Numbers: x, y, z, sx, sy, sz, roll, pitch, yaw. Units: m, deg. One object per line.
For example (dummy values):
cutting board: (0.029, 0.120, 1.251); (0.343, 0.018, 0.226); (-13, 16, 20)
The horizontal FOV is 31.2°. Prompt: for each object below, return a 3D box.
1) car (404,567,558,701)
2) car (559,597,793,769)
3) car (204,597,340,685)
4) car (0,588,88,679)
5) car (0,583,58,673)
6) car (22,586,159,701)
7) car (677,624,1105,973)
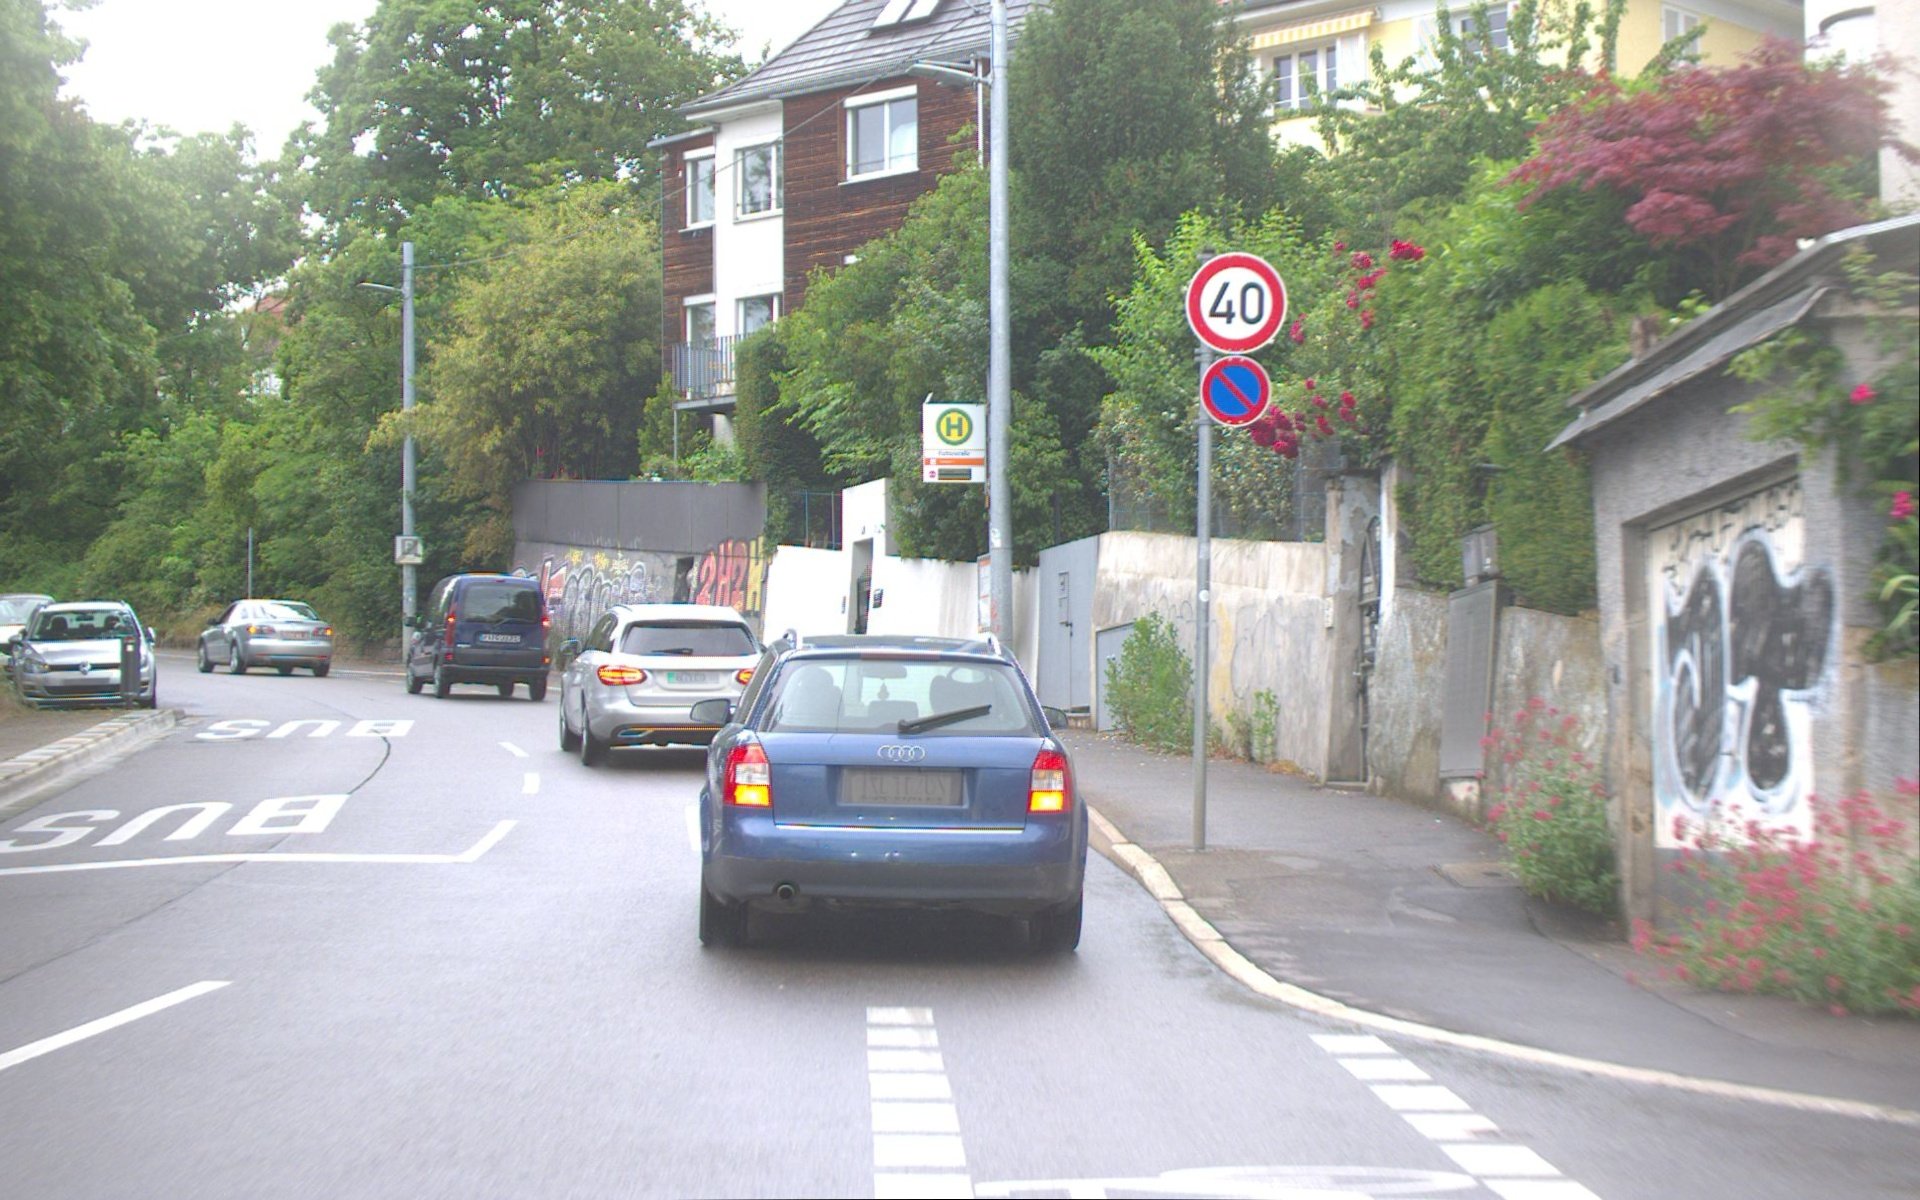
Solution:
car: (-7.206, 0.476, 51.458); (1.730, 1.888, 4.056); (-1, 1, -16)
car: (-2.735, 0.730, 32.286); (1.908, 1.384, 4.351); (3, 0, -8)
car: (-12.989, 0.743, 64.745); (1.766, 1.565, 4.031); (-1, 1, -22)
car: (-15.505, 0.526, 56.972); (1.673, 1.422, 4.001); (-1, 1, -19)
car: (-17.458, 0.486, 61.994); (1.673, 1.546, 3.903); (-1, 1, -24)
car: (-11.602, 0.552, 46.011); (1.673, 1.422, 4.001); (-1, 1, -13)
car: (-0.334, 0.855, 16.529); (1.777, 1.434, 4.000); (1, -1, -1)
